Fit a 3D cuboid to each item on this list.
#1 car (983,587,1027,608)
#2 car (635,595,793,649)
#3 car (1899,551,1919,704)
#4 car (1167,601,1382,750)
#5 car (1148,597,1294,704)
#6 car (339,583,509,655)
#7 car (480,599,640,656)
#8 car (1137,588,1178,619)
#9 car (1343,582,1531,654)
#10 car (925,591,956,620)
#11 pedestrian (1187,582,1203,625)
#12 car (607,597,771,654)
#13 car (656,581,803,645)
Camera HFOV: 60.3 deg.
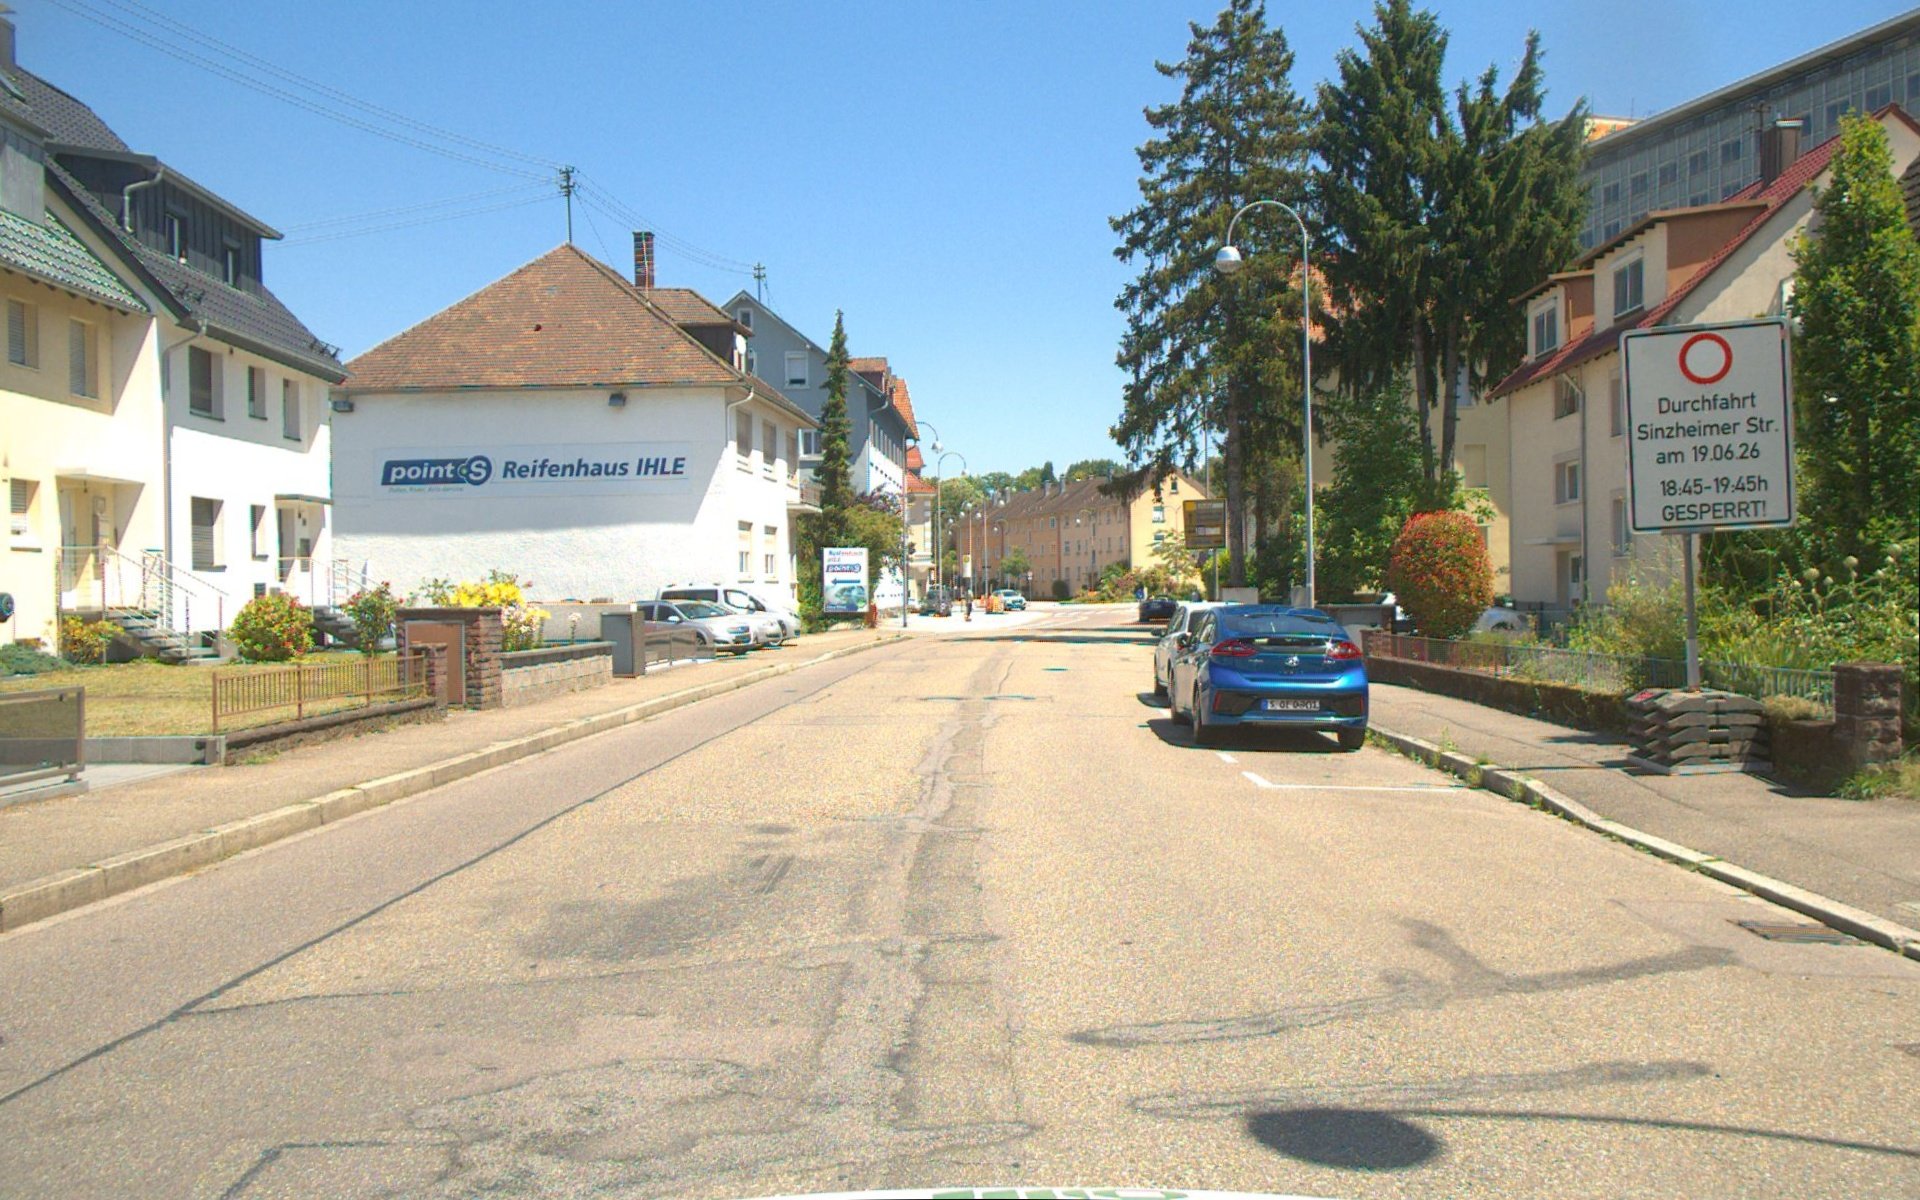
[{"bbox_3d":[3.441,-0.211,127.769,1.586,1.634,3.360,-1,1,-40],"label":"car"},{"bbox_3d":[-6.776,0.588,45.789,4.043,1.419,1.829,-1,0,1],"label":"car"},{"bbox_3d":[10.911,0.241,15.584,1.758,1.597,3.999,-2,0,-1],"label":"car"},{"bbox_3d":[3.407,0.751,18.655,1.741,1.430,4.287,1,0,2],"label":"car"},{"bbox_3d":[3.869,0.699,25.068,1.689,1.444,4.015,1,0,2],"label":"car"},{"bbox_3d":[-12.166,0.395,37.467,3.923,1.536,1.792,0,1,38],"label":"car"},{"bbox_3d":[-10.268,0.673,42.380,4.059,1.367,1.827,0,1,36],"label":"car"},{"bbox_3d":[10.159,0.146,84.829,1.756,1.536,4.004,0,1,12],"label":"car"},{"bbox_3d":[11.105,0.405,38.707,3.904,1.639,1.834,0,0,1],"label":"car"},{"bbox_3d":[-1.154,0.343,98.703,1.721,1.685,4.001,0,0,2],"label":"car"},{"bbox_3d":[9.962,0.154,70.091,0.674,1.801,0.692,0,-2,9],"label":"pedestrian"},{"bbox_3d":[-7.026,0.638,42.798,4.059,1.367,1.904,0,1,36],"label":"car"},{"bbox_3d":[-6.688,0.364,48.349,4.045,1.805,1.828,-1,0,-2],"label":"car"}]
